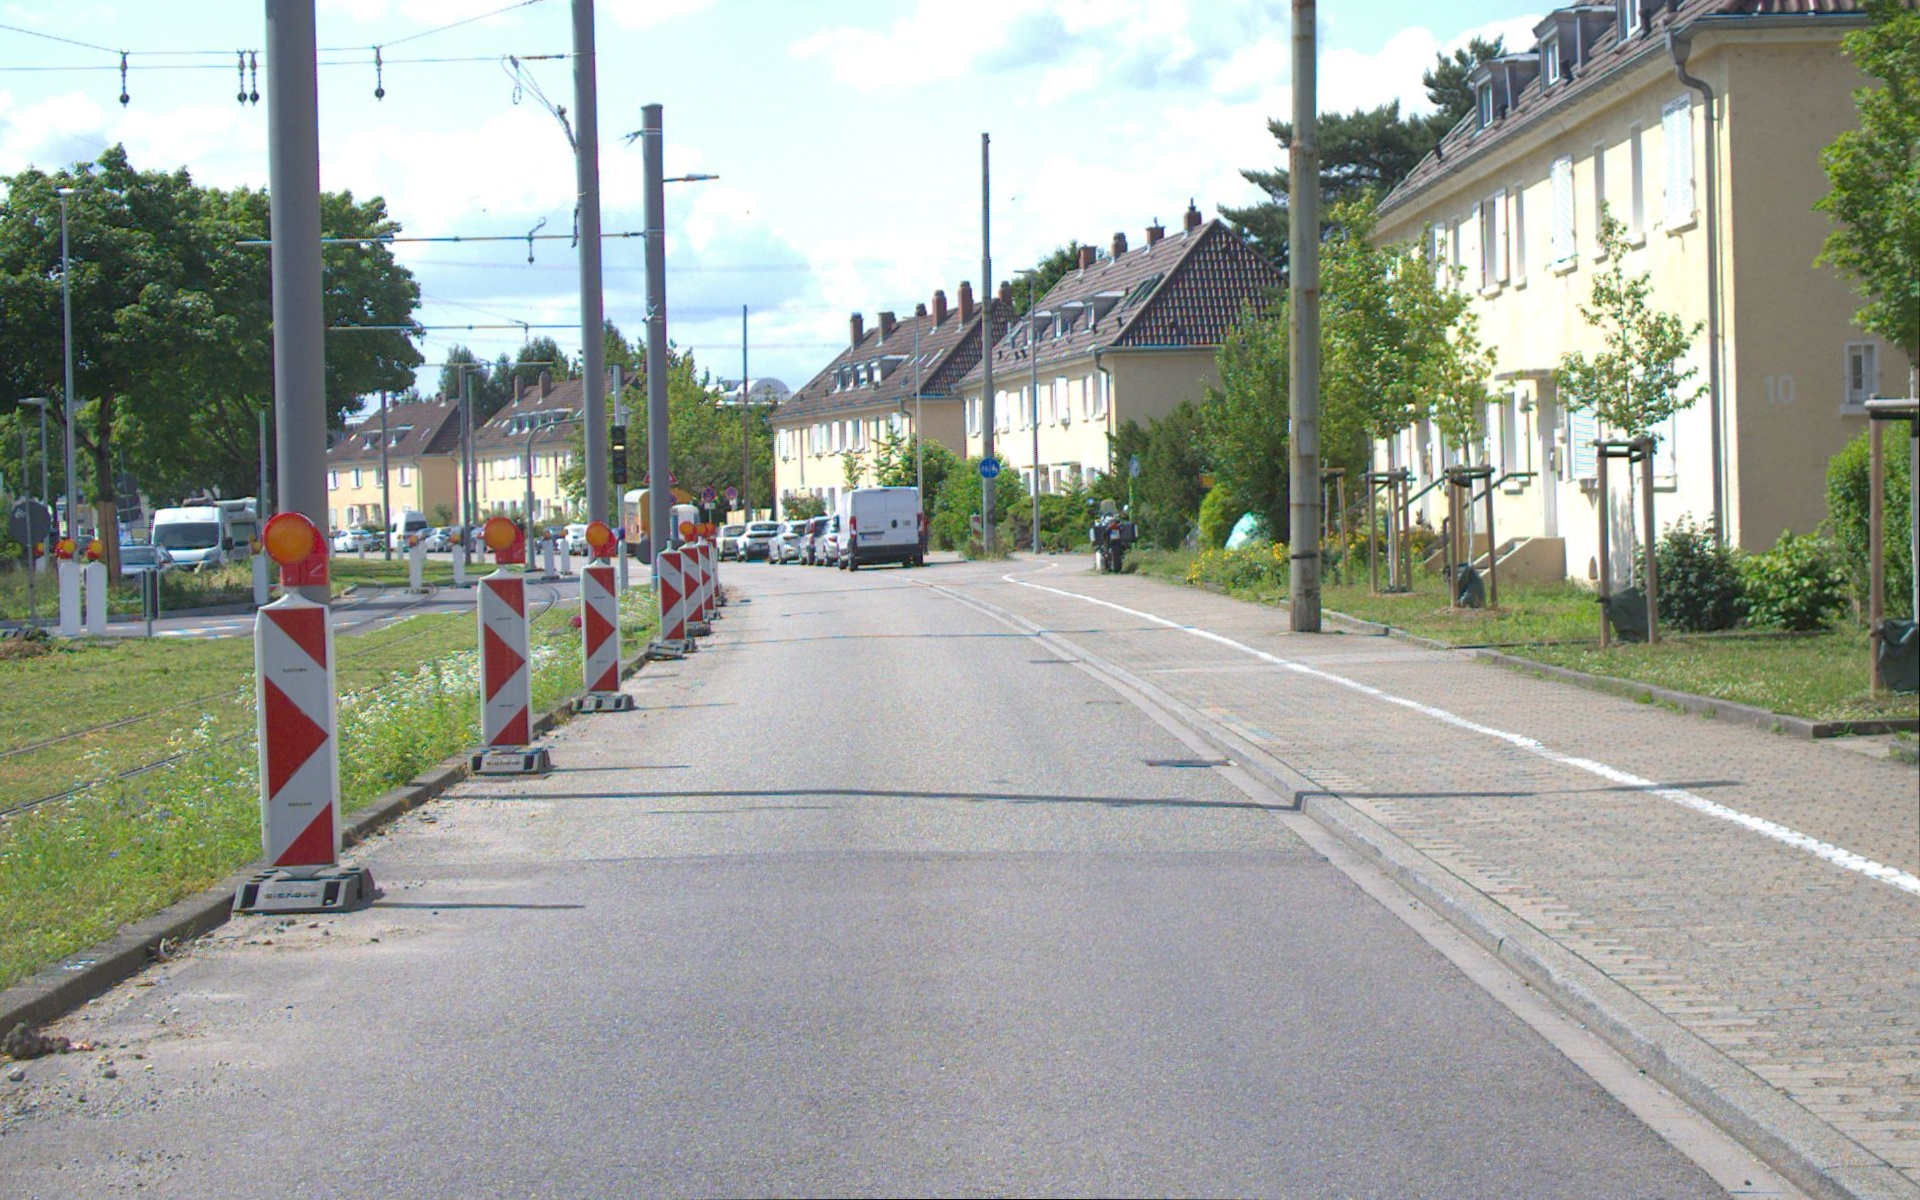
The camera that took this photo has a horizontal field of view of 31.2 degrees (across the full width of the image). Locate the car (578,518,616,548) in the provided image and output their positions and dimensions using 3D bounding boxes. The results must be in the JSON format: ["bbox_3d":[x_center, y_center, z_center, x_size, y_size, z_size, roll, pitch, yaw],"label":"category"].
[{"bbox_3d":[-17.917,-3.320,169.579,1.257,1.421,2.666,-2,2,-18],"label":"car"}]

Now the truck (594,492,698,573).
[{"bbox_3d":[-14.444,-3.082,157.433,2.640,3.482,9.441,-2,2,-18],"label":"truck"}]

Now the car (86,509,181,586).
[{"bbox_3d":[-20.214,-1.298,84.227,2.094,1.770,4.122,-2,1,-12],"label":"car"}]

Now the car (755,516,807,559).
[{"bbox_3d":[-6.655,-2.319,127.526,1.567,1.546,3.480,-2,1,-8],"label":"car"}]

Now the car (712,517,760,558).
[{"bbox_3d":[-8.734,-2.427,133.959,1.567,1.546,3.480,-2,1,-8],"label":"car"}]

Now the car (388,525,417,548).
[{"bbox_3d":[-34.660,-3.942,213.882,1.165,1.421,2.666,-2,2,-22],"label":"car"}]

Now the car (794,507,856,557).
[{"bbox_3d":[-4.343,-2.191,110.279,1.567,1.546,3.790,-2,1,-8],"label":"car"}]

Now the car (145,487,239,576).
[{"bbox_3d":[-21.346,-1.903,95.697,2.406,2.330,4.881,-2,2,-12],"label":"car"}]

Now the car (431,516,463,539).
[{"bbox_3d":[-30.691,-4.320,205.587,1.257,1.346,2.666,-2,2,-21],"label":"car"}]

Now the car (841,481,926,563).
[{"bbox_3d":[-2.152,-2.174,95.508,2.065,2.141,4.879,-2,1,-4],"label":"car"}]

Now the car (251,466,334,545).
[{"bbox_3d":[-20.976,-2.981,107.866,2.406,2.362,4.881,-2,2,-12],"label":"car"}]

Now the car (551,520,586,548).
[{"bbox_3d":[-20.340,-3.421,178.405,1.257,1.421,2.666,-2,2,-18],"label":"car"}]

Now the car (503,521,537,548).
[{"bbox_3d":[-24.369,-3.620,190.411,1.257,1.421,2.666,-2,2,-19],"label":"car"}]

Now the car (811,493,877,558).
[{"bbox_3d":[-3.571,-2.275,105.139,1.567,1.891,3.790,-2,1,-8],"label":"car"}]

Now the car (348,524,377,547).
[{"bbox_3d":[-38.989,-4.212,224.248,1.257,1.421,2.666,-2,1,-23],"label":"car"}]

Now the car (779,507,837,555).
[{"bbox_3d":[-5.143,-2.321,115.924,1.567,1.546,3.790,-2,2,-8],"label":"car"}]

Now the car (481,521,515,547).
[{"bbox_3d":[-26.140,-3.758,194.514,1.257,1.421,2.666,-2,2,-21],"label":"car"}]

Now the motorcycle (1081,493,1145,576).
[{"bbox_3d":[3.095,-1.335,69.548,1.066,1.630,2.084,-2,1,-2],"label":"motorcycle"}]
